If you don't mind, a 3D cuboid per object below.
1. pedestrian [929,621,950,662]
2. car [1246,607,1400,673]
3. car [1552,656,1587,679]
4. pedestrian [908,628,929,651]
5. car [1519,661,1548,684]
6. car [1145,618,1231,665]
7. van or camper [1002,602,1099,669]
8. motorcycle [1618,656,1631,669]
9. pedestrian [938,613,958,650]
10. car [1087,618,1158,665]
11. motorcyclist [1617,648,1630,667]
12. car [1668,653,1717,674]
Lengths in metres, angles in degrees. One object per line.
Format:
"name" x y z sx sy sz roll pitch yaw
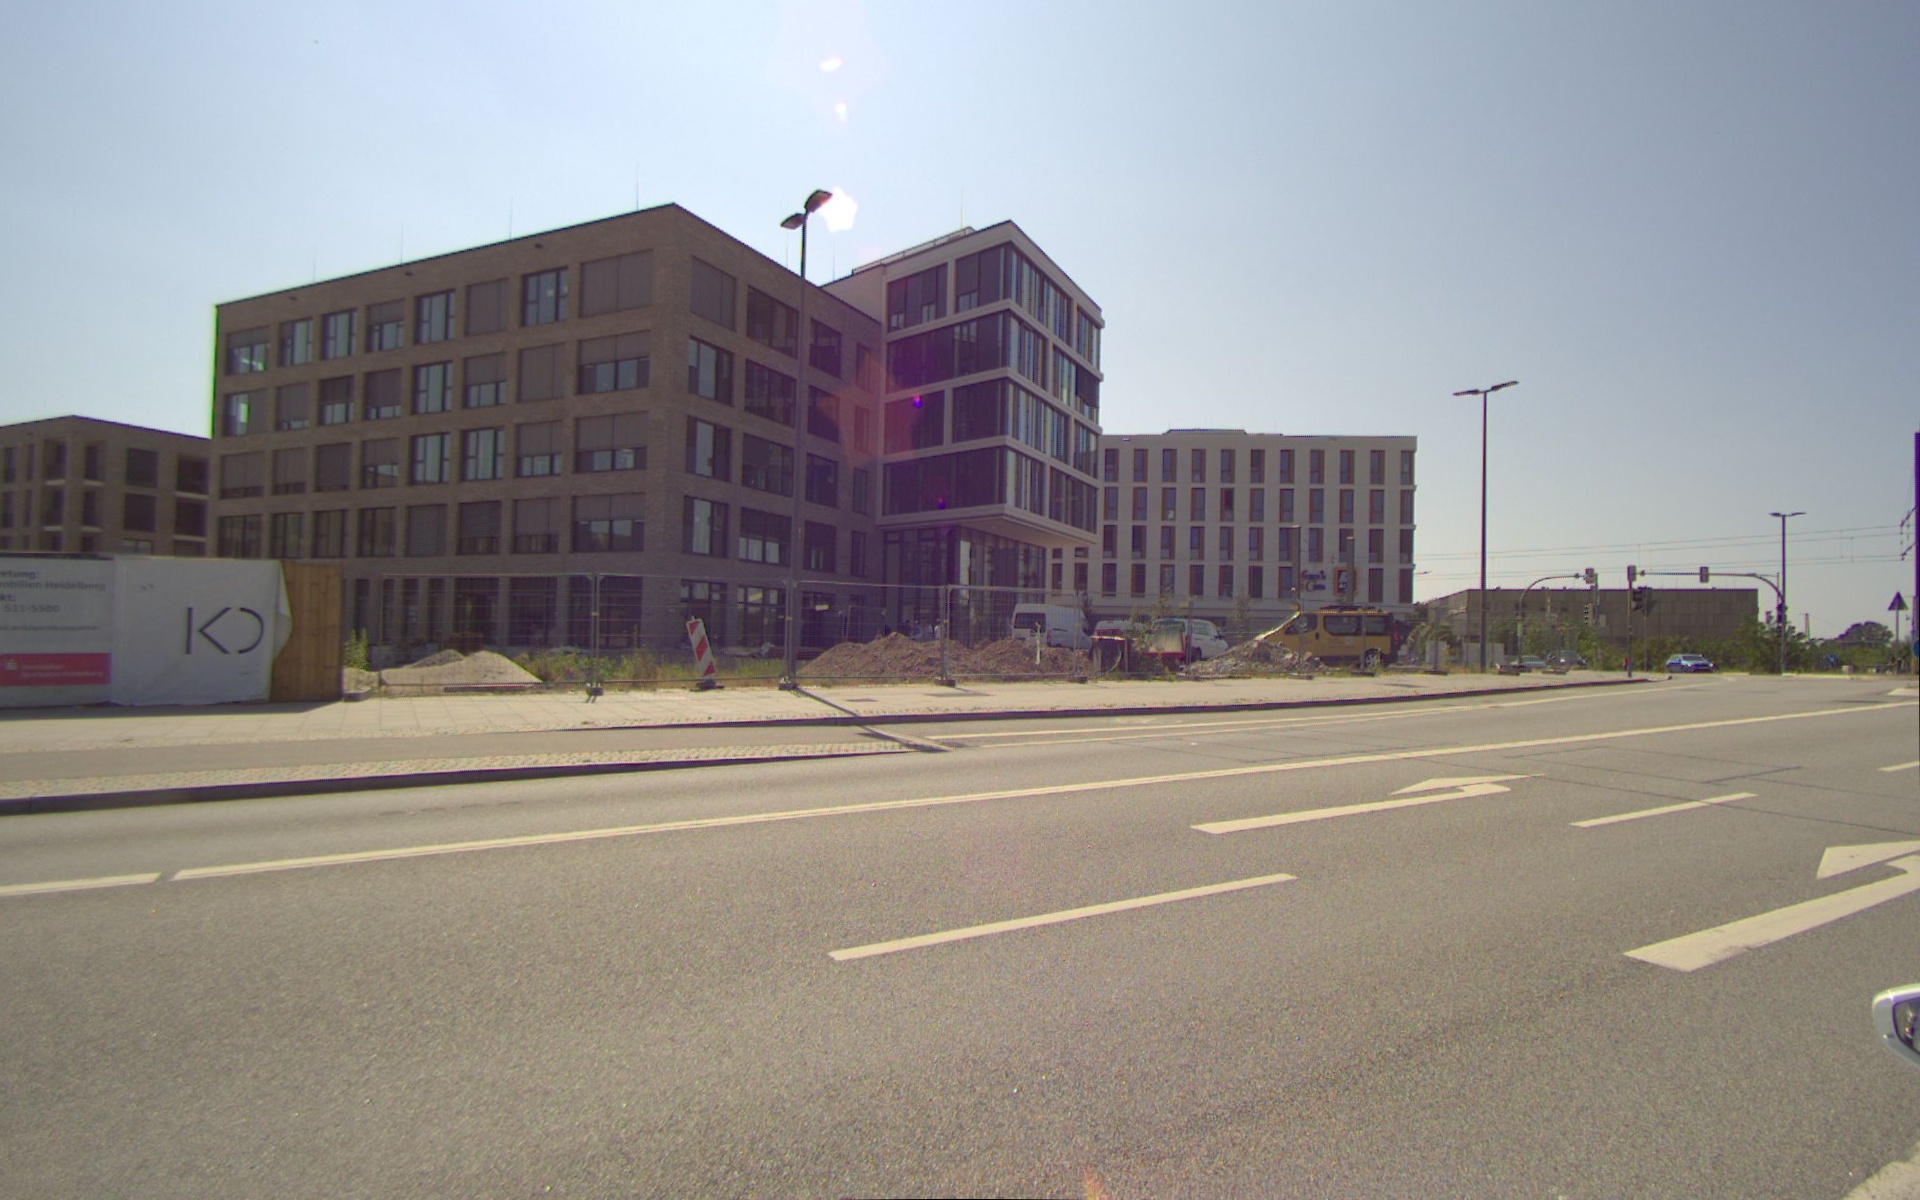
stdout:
"pedestrian" -0.894 1.819 44.011 0.734 1.741 0.699 2 0 16
"car" 12.093 1.305 33.766 4.533 1.988 1.991 2 0 9
"car" 44.355 4.918 73.122 1.646 1.496 3.405 0 -1 22
"pedestrian" -1.955 1.874 47.325 0.734 1.041 0.699 2 0 16
"car" 46.366 5.812 81.254 1.541 1.608 3.477 2 0 23
"car" 9.638 1.699 42.211 1.841 1.797 4.637 2 0 36
"van or camper" 4.143 1.562 45.088 2.273 2.772 4.975 2 0 32
"motorcycle" 54.217 5.123 82.007 0.511 0.967 1.933 2 0 23
"pedestrian" -0.573 1.520 48.907 0.734 1.741 0.699 2 0 16
"car" 7.116 1.751 43.670 1.758 1.881 3.844 2 0 30
"motorcyclist" 54.282 4.720 82.132 0.739 1.514 0.677 2 0 23
"car" 52.378 4.503 71.877 1.787 1.348 4.000 2 -2 20
